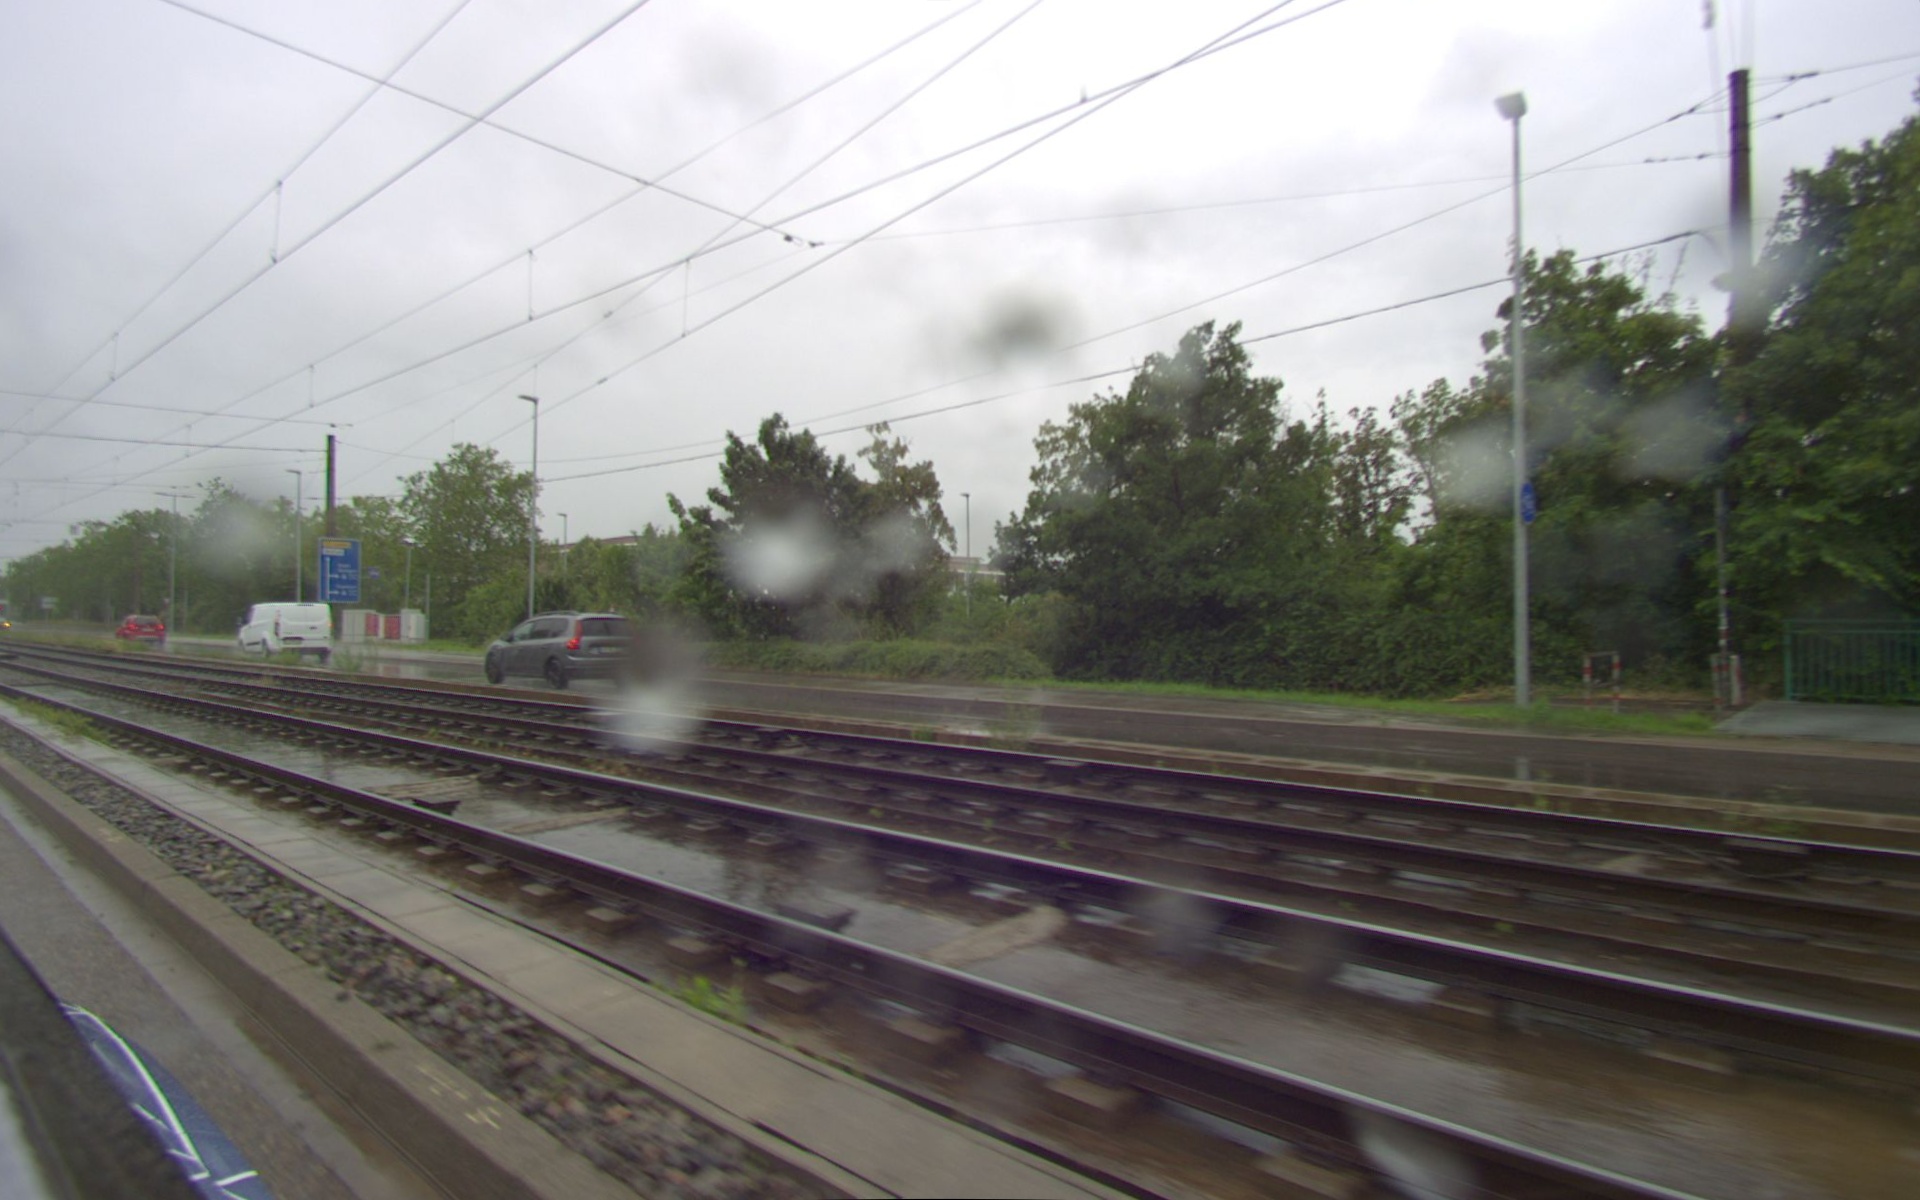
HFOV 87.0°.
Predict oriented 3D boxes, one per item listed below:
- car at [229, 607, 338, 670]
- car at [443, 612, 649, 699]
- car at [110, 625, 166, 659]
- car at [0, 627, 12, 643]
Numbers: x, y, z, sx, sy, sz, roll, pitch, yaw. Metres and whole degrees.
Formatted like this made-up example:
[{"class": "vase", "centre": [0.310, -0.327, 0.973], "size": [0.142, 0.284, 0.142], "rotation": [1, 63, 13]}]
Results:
[{"class": "car", "centre": [-24.355, 1.348, 36.353], "size": [5.025, 2.059, 1.973], "rotation": [-1, 0, 41]}, {"class": "car", "centre": [-9.231, 1.140, 22.328], "size": [5.368, 1.661, 1.973], "rotation": [-1, 0, 41]}, {"class": "car", "centre": [-43.589, 2.200, 53.651], "size": [3.648, 1.613, 1.706], "rotation": [-1, 0, 41]}, {"class": "car", "centre": [-97.632, 3.537, 102.350], "size": [4.953, 1.534, 1.974], "rotation": [-1, 0, 40]}]
